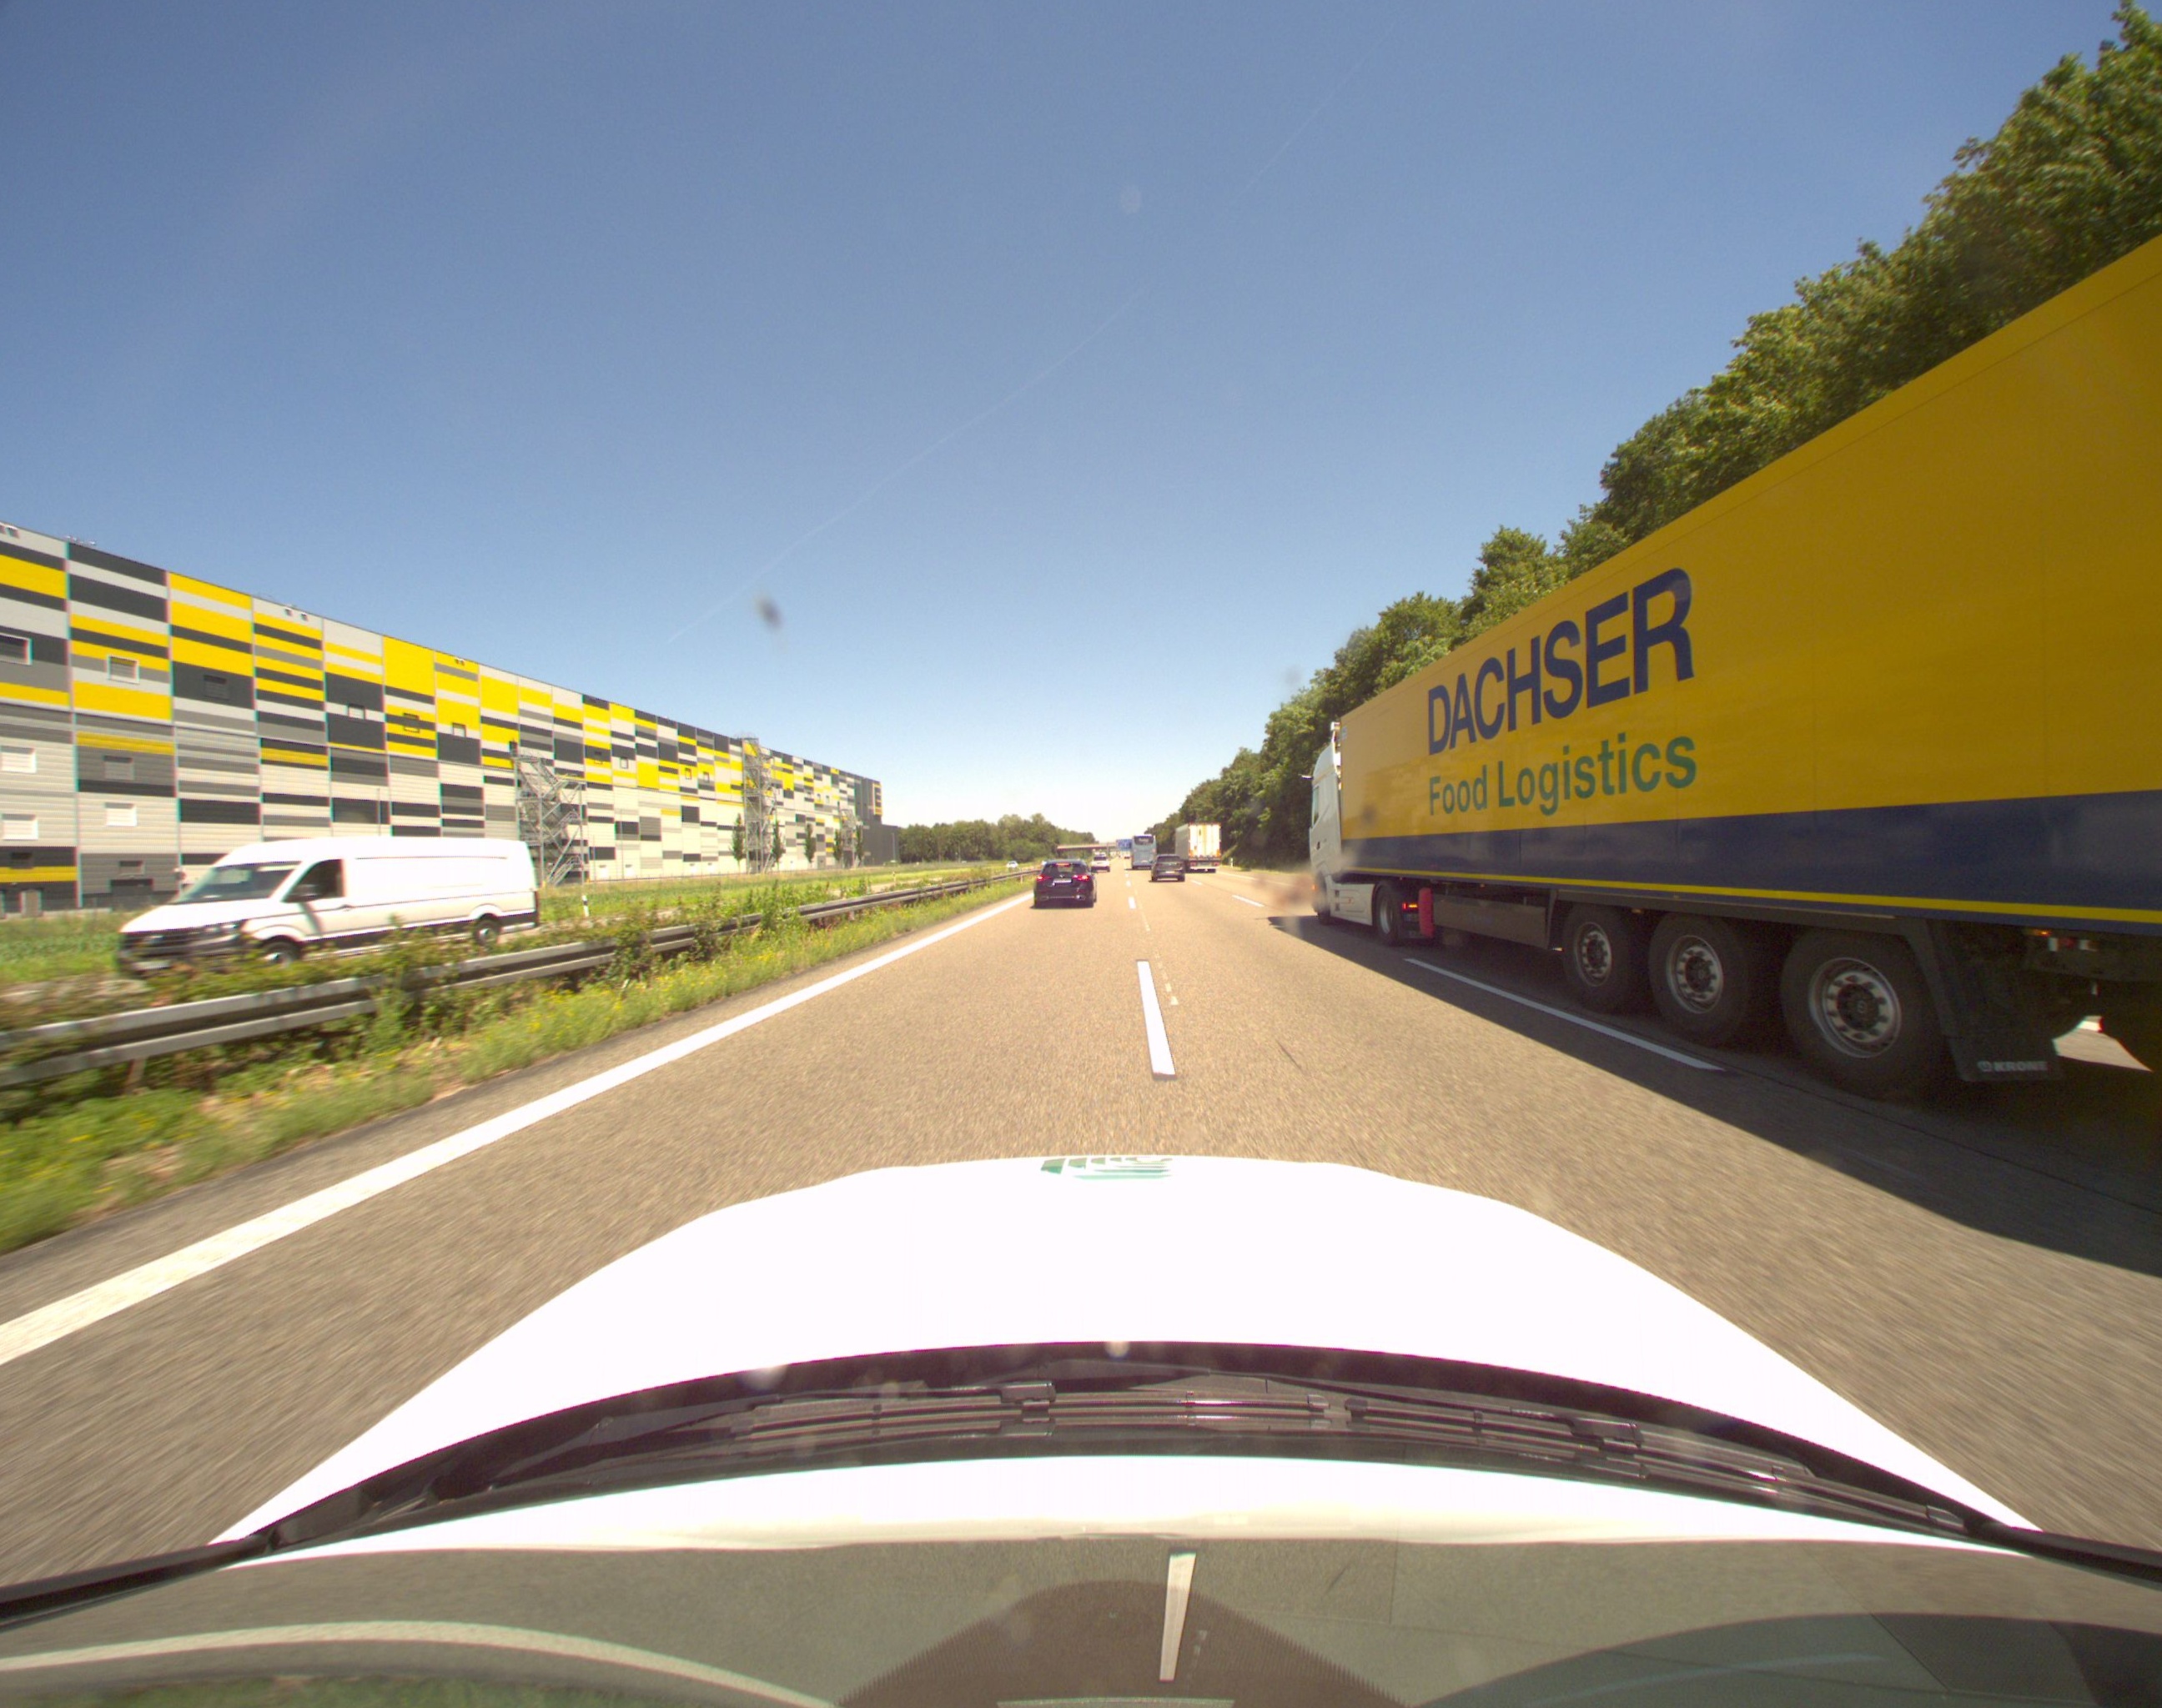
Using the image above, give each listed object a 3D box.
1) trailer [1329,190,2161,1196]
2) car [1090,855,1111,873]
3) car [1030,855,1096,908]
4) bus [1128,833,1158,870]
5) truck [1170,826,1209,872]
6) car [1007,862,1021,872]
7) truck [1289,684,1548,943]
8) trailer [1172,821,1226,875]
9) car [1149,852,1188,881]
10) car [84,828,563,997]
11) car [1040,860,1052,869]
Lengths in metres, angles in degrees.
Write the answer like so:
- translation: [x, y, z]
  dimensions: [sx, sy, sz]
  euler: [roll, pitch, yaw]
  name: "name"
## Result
- translation: [5.889, -0.650, 8.659]
  dimensions: [2.667, 4.069, 13.841]
  euler: [-1, 0, 2]
  name: "trailer"
- translation: [1.862, 0.919, 76.553]
  dimensions: [1.892, 1.532, 4.243]
  euler: [-1, 0, 2]
  name: "car"
- translation: [-0.479, 0.797, 25.439]
  dimensions: [1.792, 1.502, 4.243]
  euler: [-1, 0, 2]
  name: "car"
- translation: [6.569, -0.210, 87.551]
  dimensions: [2.791, 3.596, 12.483]
  euler: [-1, 0, 3]
  name: "bus"
- translation: [10.248, -0.447, 77.784]
  dimensions: [3.036, 4.215, 6.051]
  euler: [-1, 0, 2]
  name: "truck"
- translation: [-11.469, 2.279, 140.425]
  dimensions: [1.792, 1.532, 4.634]
  euler: [-3, 0, 2]
  name: "car"
- translation: [6.132, -0.635, 15.963]
  dimensions: [2.667, 4.069, 6.051]
  euler: [-1, 0, 2]
  name: "truck"
- translation: [10.016, -0.471, 70.698]
  dimensions: [3.028, 4.224, 13.841]
  euler: [-1, 0, 2]
  name: "trailer"
- translation: [4.968, 0.683, 46.851]
  dimensions: [1.892, 1.532, 4.762]
  euler: [-1, 0, 2]
  name: "car"
- translation: [-14.387, 0.923, 16.709]
  dimensions: [2.059, 2.554, 7.939]
  euler: [-3, 0, 2]
  name: "car"
- translation: [-6.874, 2.017, 159.196]
  dimensions: [1.792, 1.532, 4.486]
  euler: [-3, 0, 3]
  name: "car"
